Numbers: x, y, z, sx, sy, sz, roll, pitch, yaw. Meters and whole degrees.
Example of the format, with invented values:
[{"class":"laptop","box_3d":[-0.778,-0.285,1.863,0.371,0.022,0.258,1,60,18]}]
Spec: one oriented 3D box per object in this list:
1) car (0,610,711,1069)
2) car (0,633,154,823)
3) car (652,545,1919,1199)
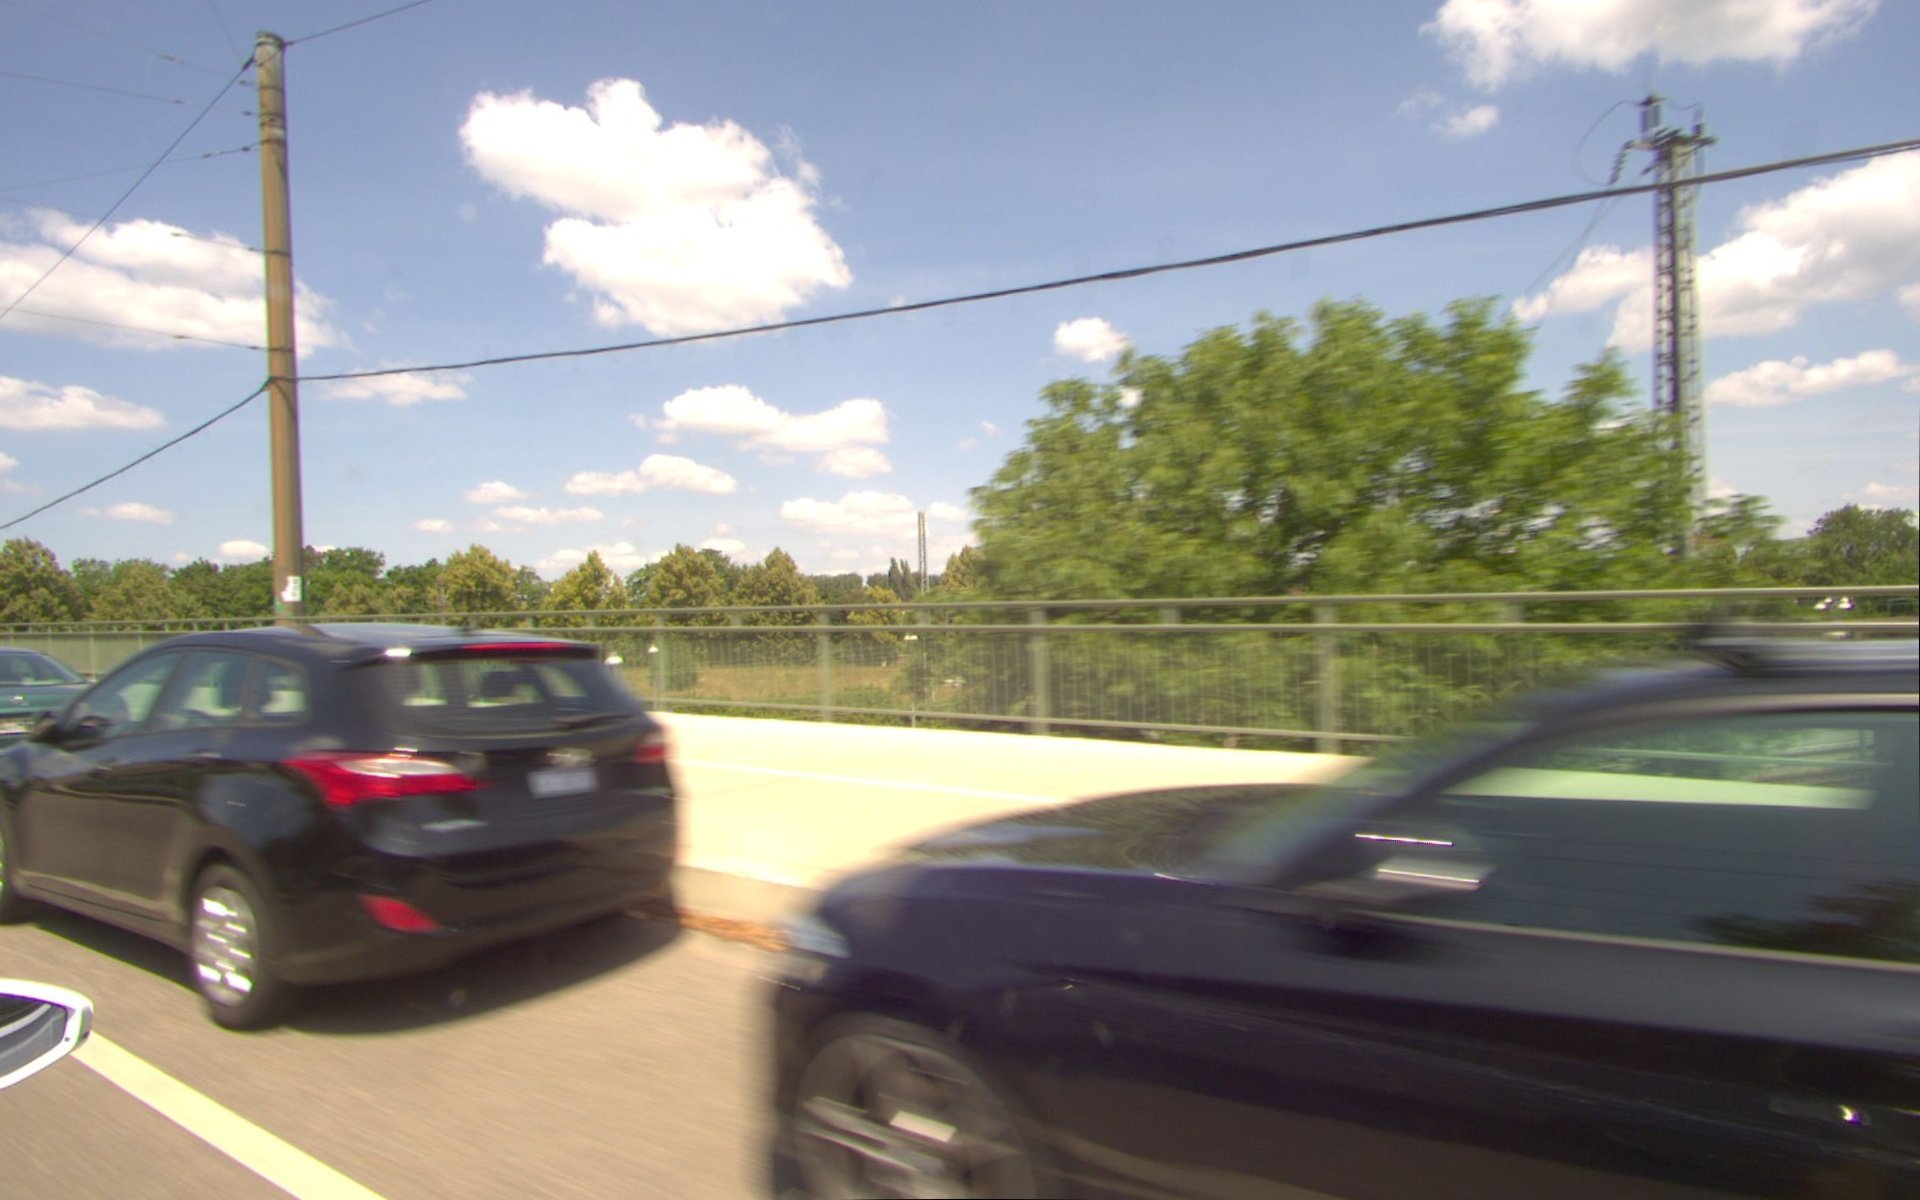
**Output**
[{"class":"car","box_3d":[-3.407,0.809,5.066,4.325,1.472,1.633,-1,-1,32]},{"class":"car","box_3d":[-8.981,0.982,8.635,4.524,1.376,1.682,-1,-2,31]},{"class":"car","box_3d":[1.428,0.720,2.179,4.101,1.579,1.820,-1,0,33]}]
